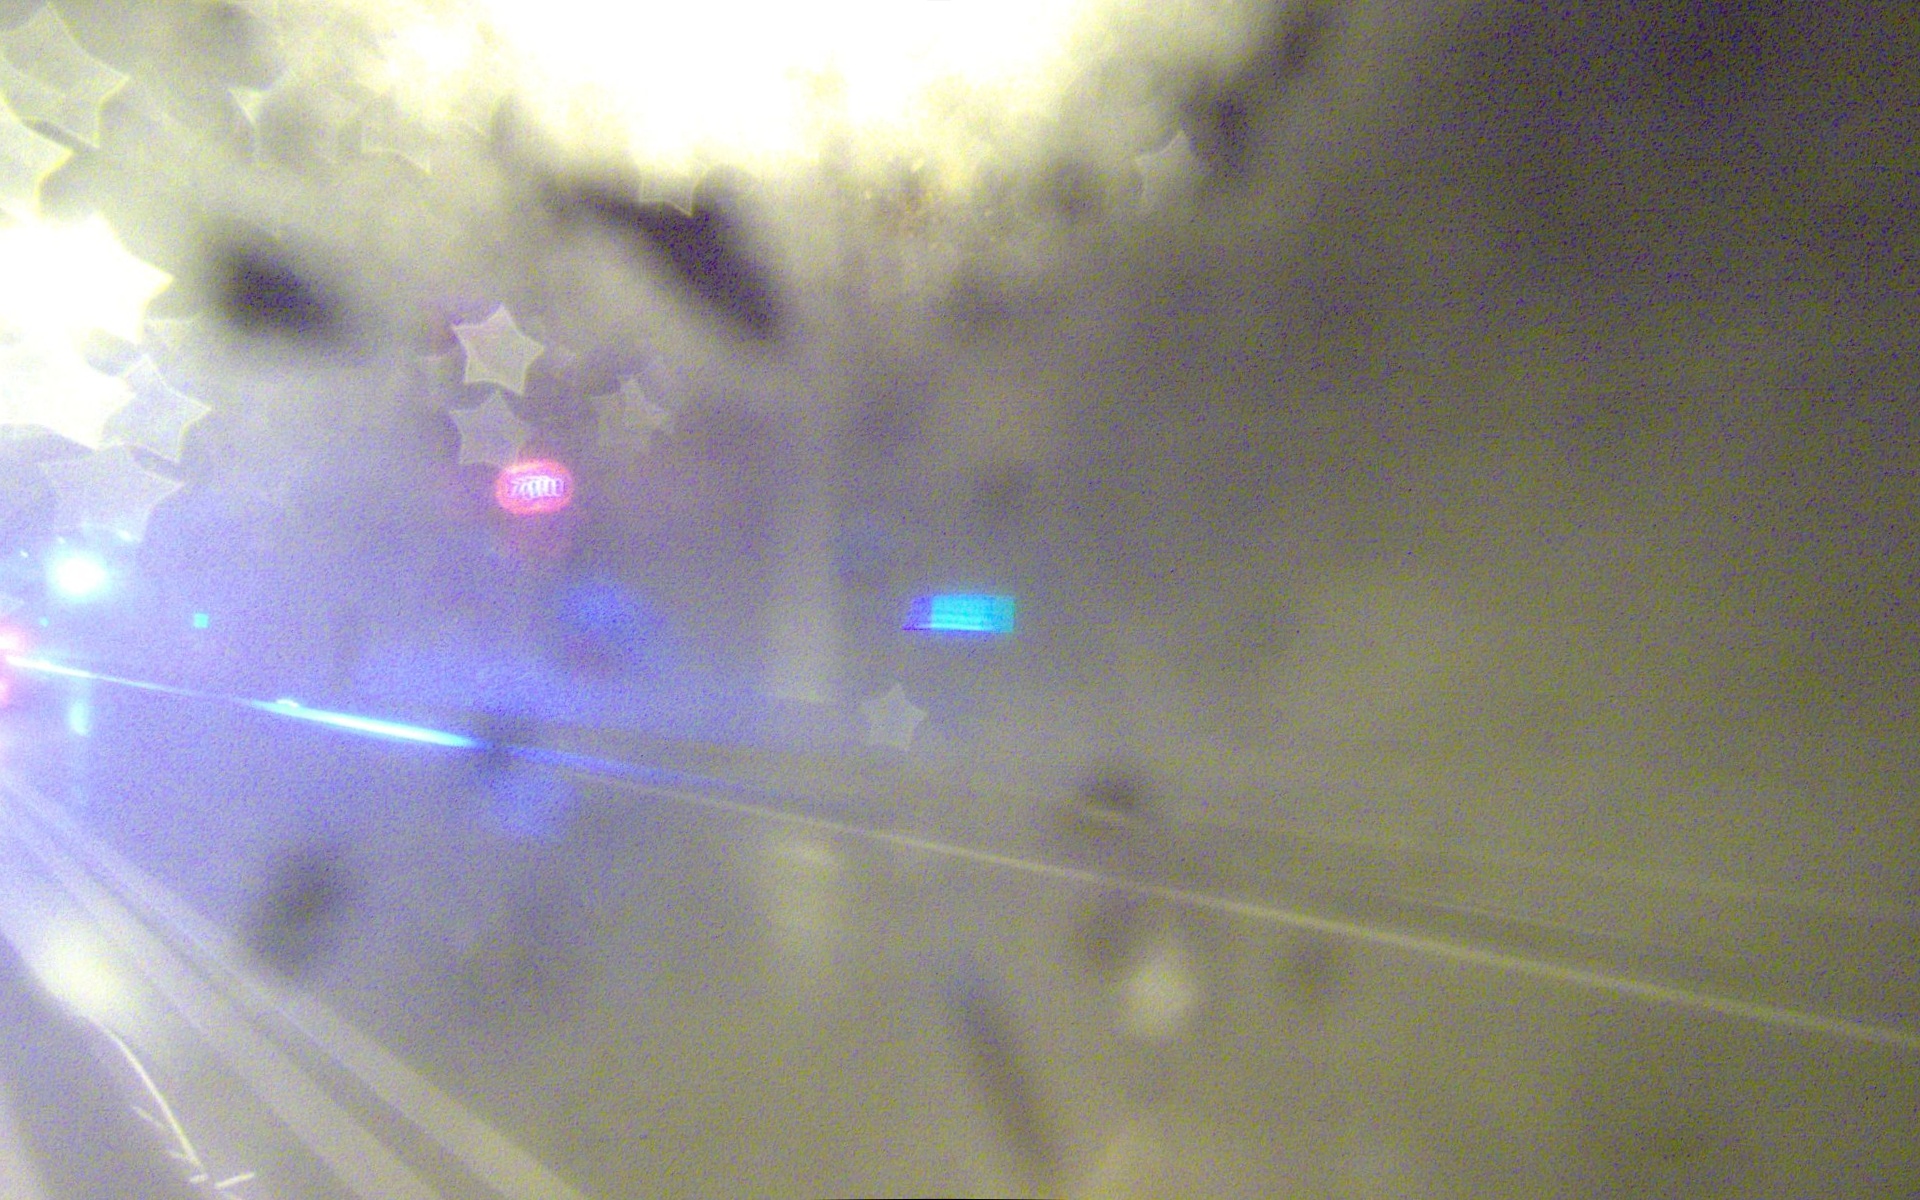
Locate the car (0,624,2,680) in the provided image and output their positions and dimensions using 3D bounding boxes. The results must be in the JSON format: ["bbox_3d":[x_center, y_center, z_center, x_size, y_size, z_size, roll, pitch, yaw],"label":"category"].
[{"bbox_3d":[-28.765,1.493,28.877,3.813,1.540,1.738,-1,-1,41],"label":"car"}]
